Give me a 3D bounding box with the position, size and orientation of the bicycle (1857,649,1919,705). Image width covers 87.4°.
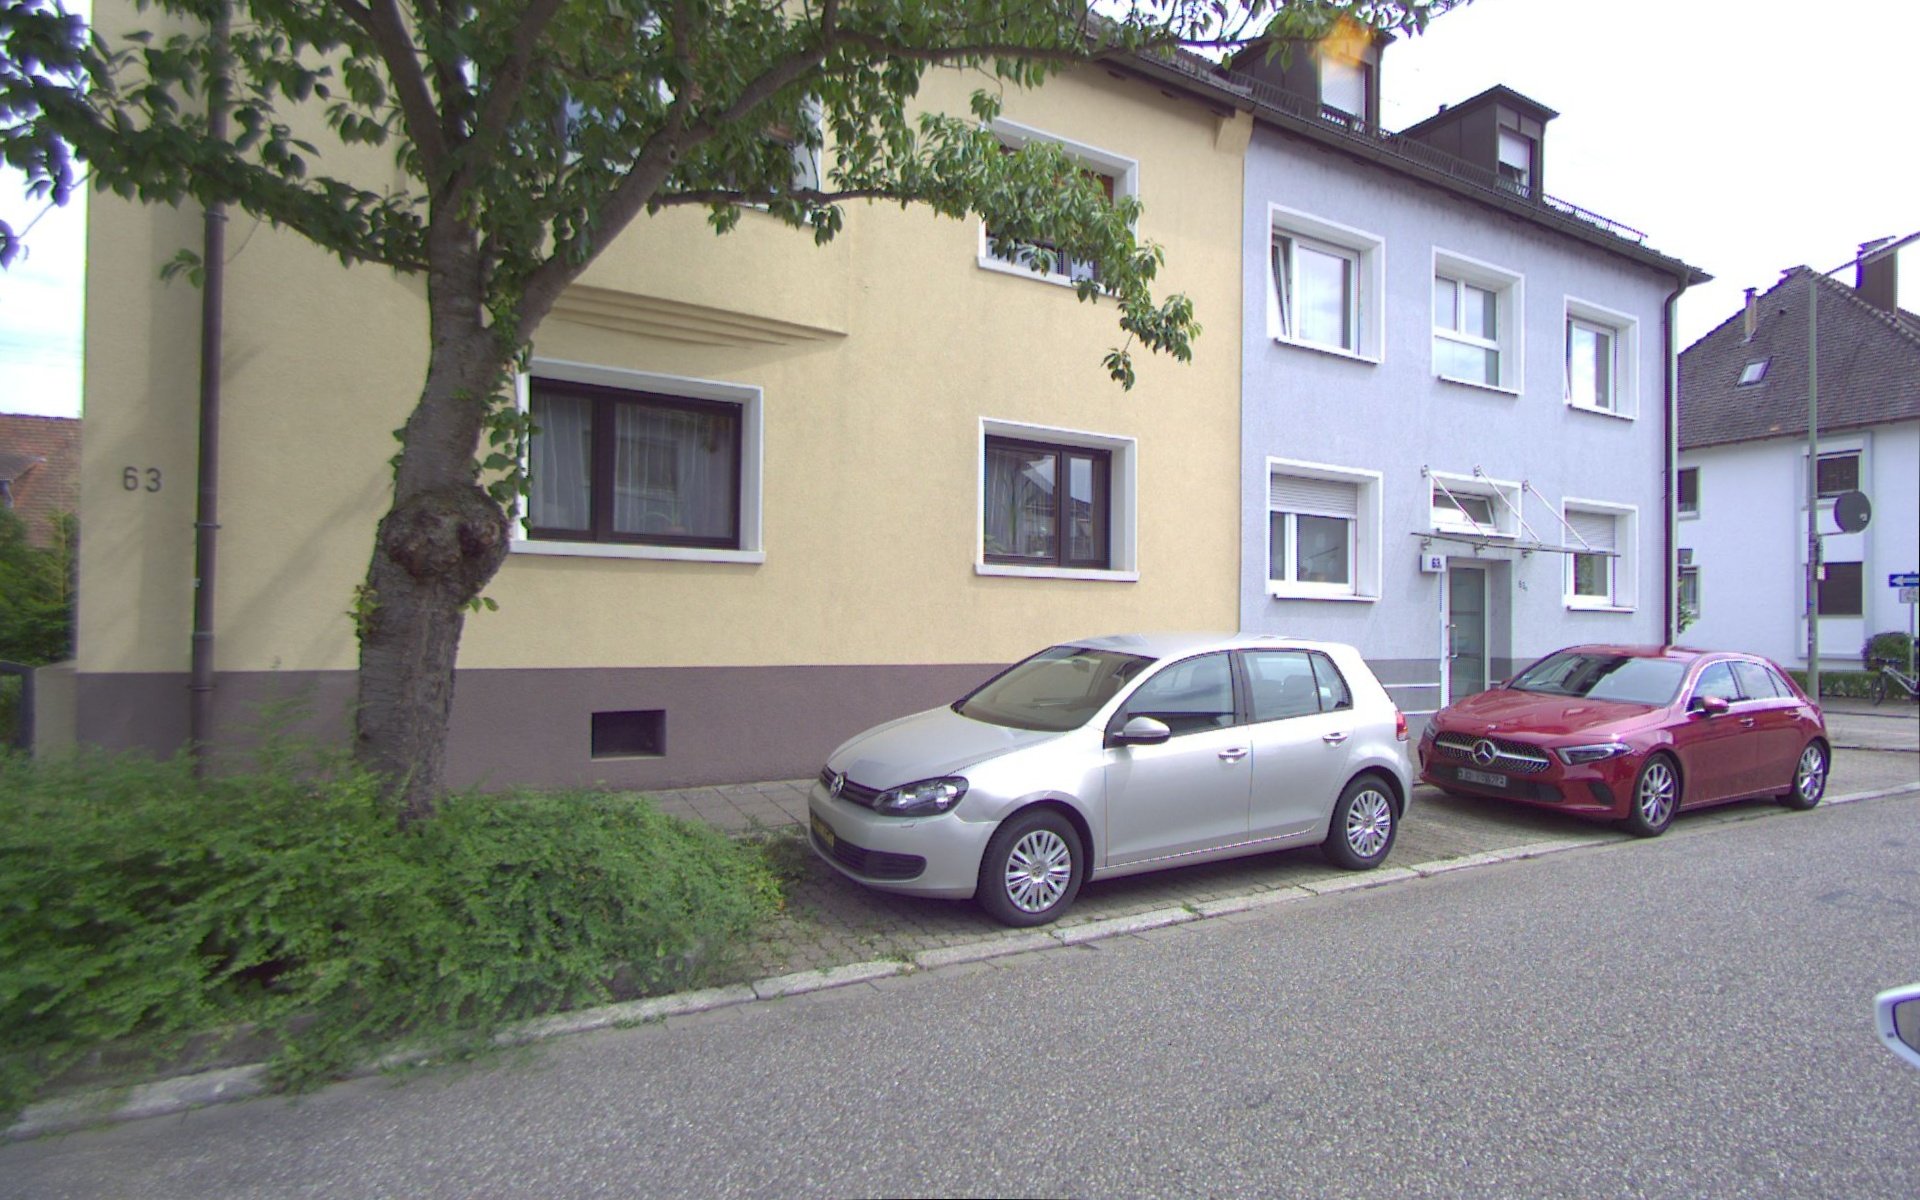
[{"bbox_3d":[20.633,1.661,21.806,0.430,1.194,1.624,2,-4,-33],"label":"bicycle"}]

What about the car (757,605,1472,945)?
[{"bbox_3d":[1.052,0.850,6.346,4.223,1.411,1.763,1,4,-29],"label":"car"}]

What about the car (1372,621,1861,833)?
[{"bbox_3d":[6.011,1.006,9.101,4.458,1.505,1.869,2,-4,-30],"label":"car"}]
